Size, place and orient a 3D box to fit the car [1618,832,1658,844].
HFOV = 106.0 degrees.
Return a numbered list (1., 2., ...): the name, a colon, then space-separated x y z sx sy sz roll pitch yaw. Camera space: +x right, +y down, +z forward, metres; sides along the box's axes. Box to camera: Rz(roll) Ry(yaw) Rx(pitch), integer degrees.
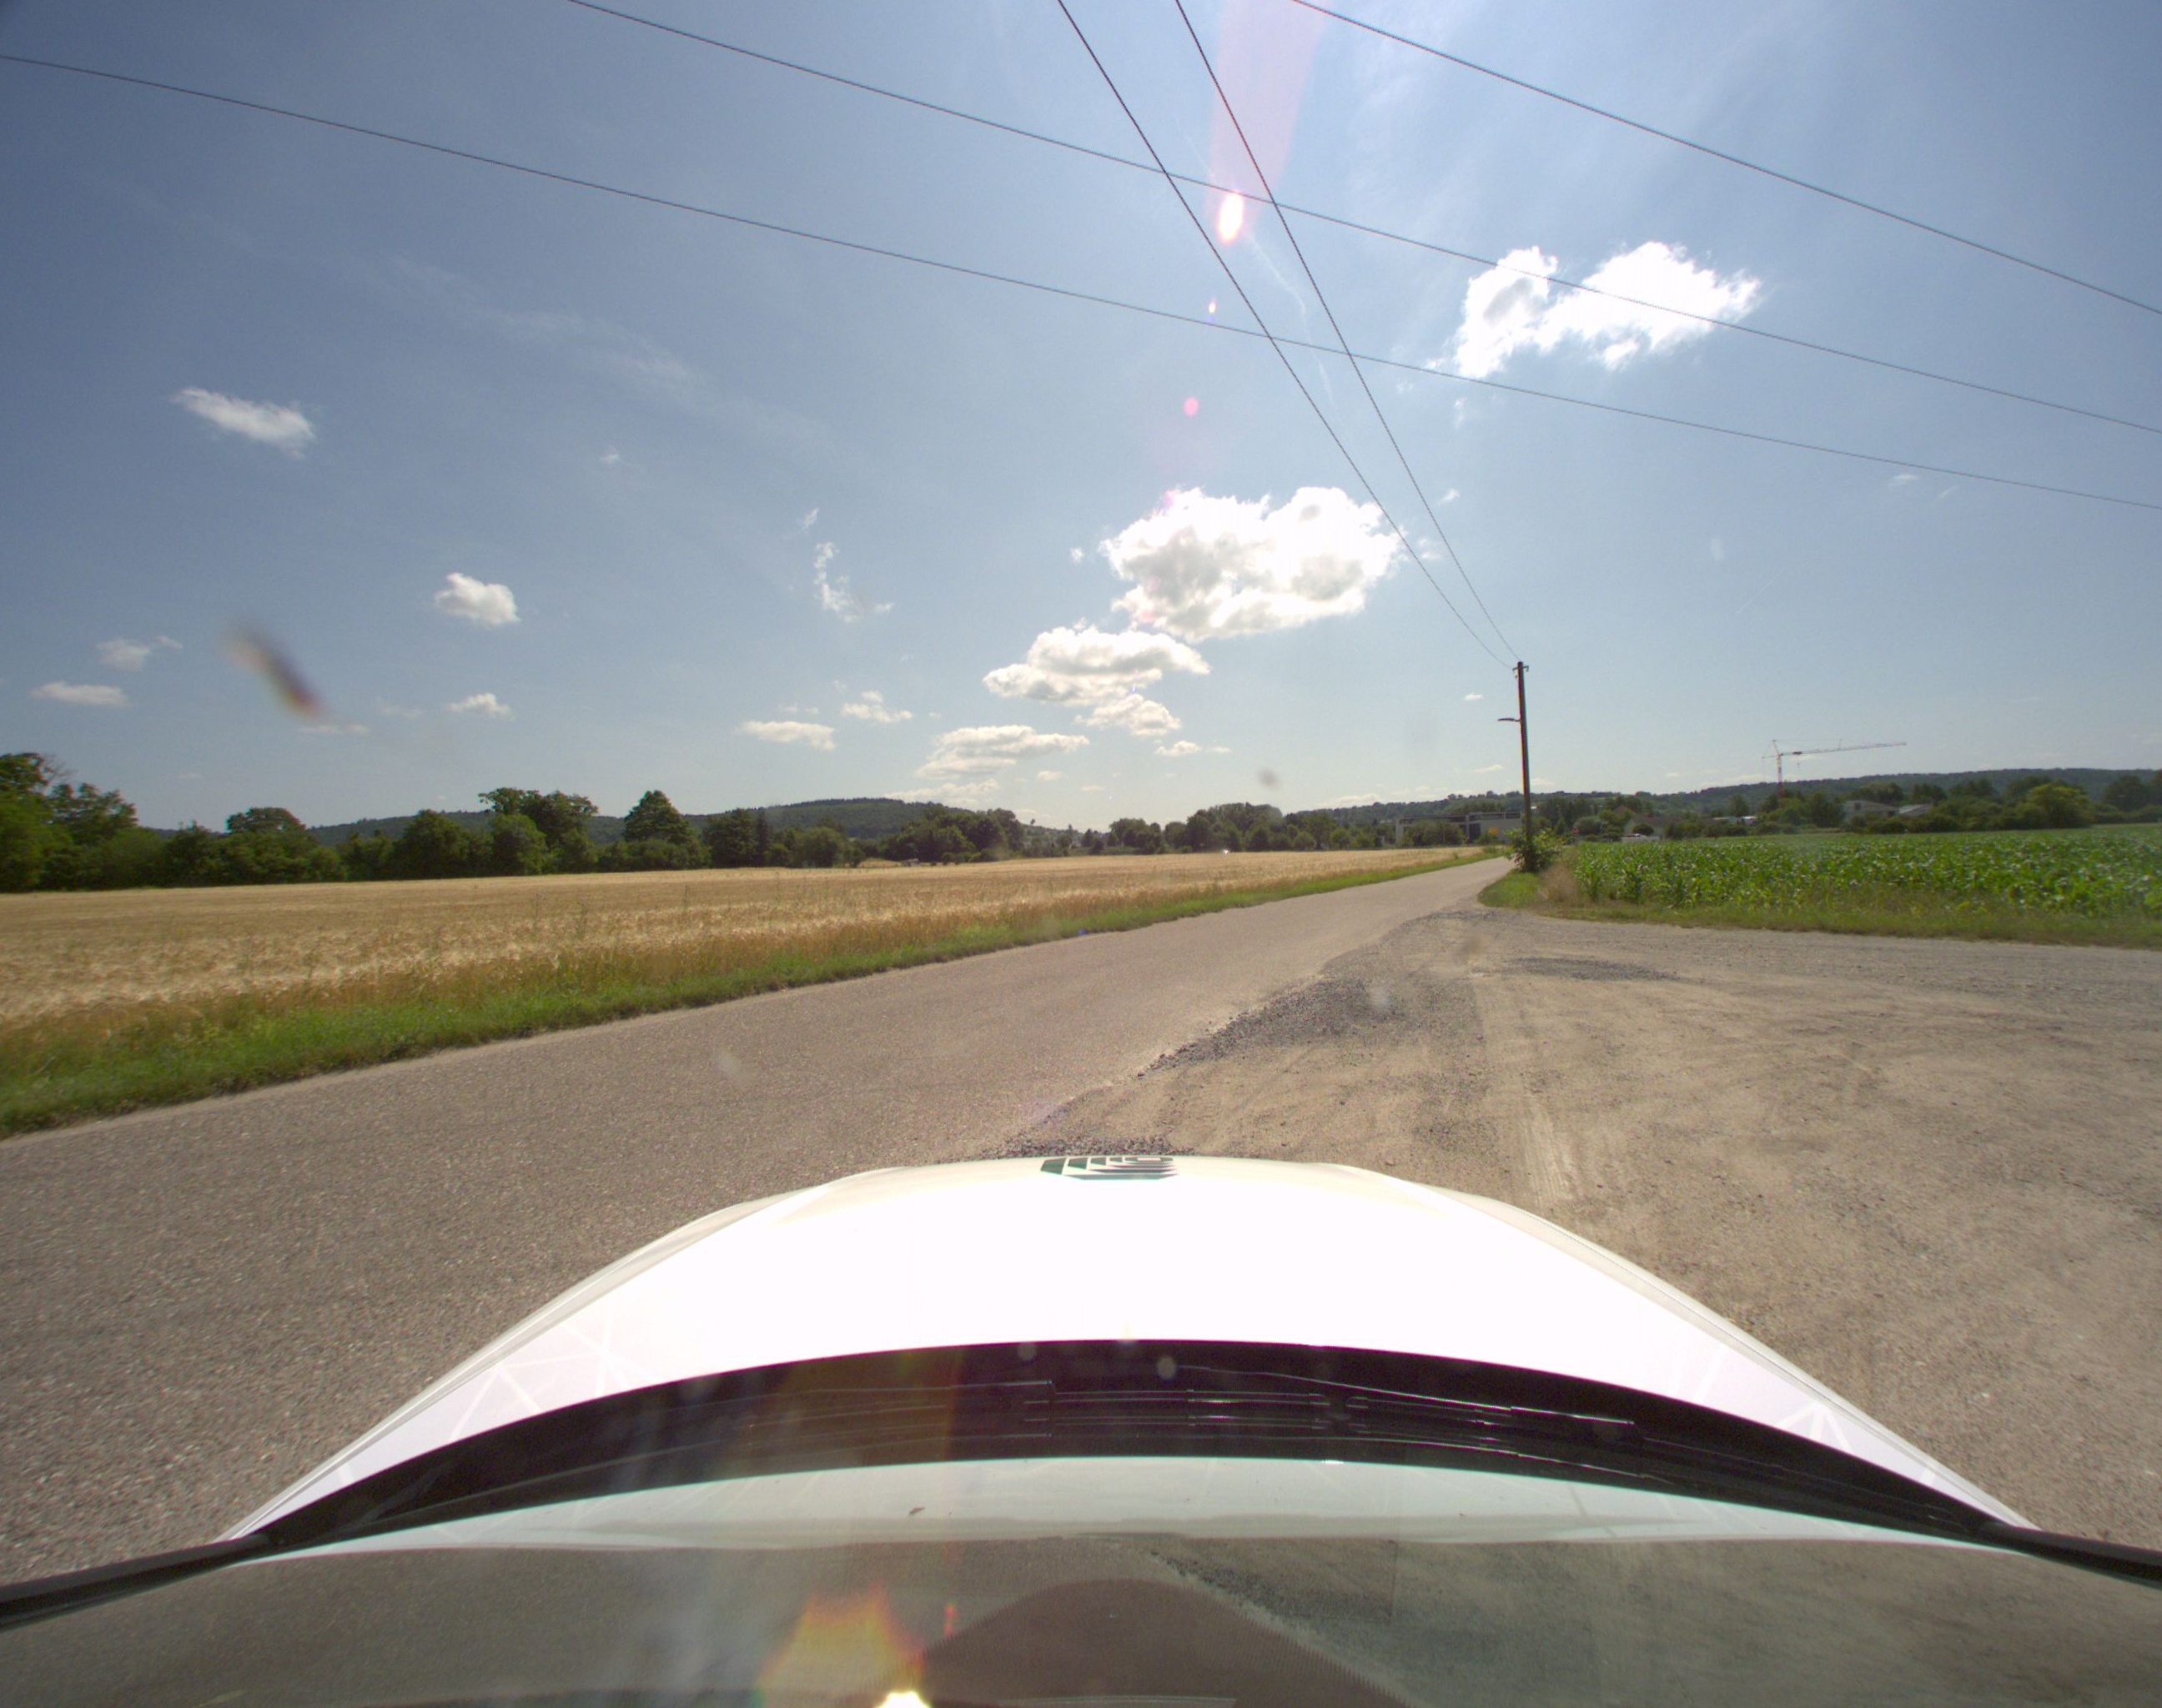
1. car: 77.111 -2.190 112.767 1.827 1.502 4.239 -2 0 -44
